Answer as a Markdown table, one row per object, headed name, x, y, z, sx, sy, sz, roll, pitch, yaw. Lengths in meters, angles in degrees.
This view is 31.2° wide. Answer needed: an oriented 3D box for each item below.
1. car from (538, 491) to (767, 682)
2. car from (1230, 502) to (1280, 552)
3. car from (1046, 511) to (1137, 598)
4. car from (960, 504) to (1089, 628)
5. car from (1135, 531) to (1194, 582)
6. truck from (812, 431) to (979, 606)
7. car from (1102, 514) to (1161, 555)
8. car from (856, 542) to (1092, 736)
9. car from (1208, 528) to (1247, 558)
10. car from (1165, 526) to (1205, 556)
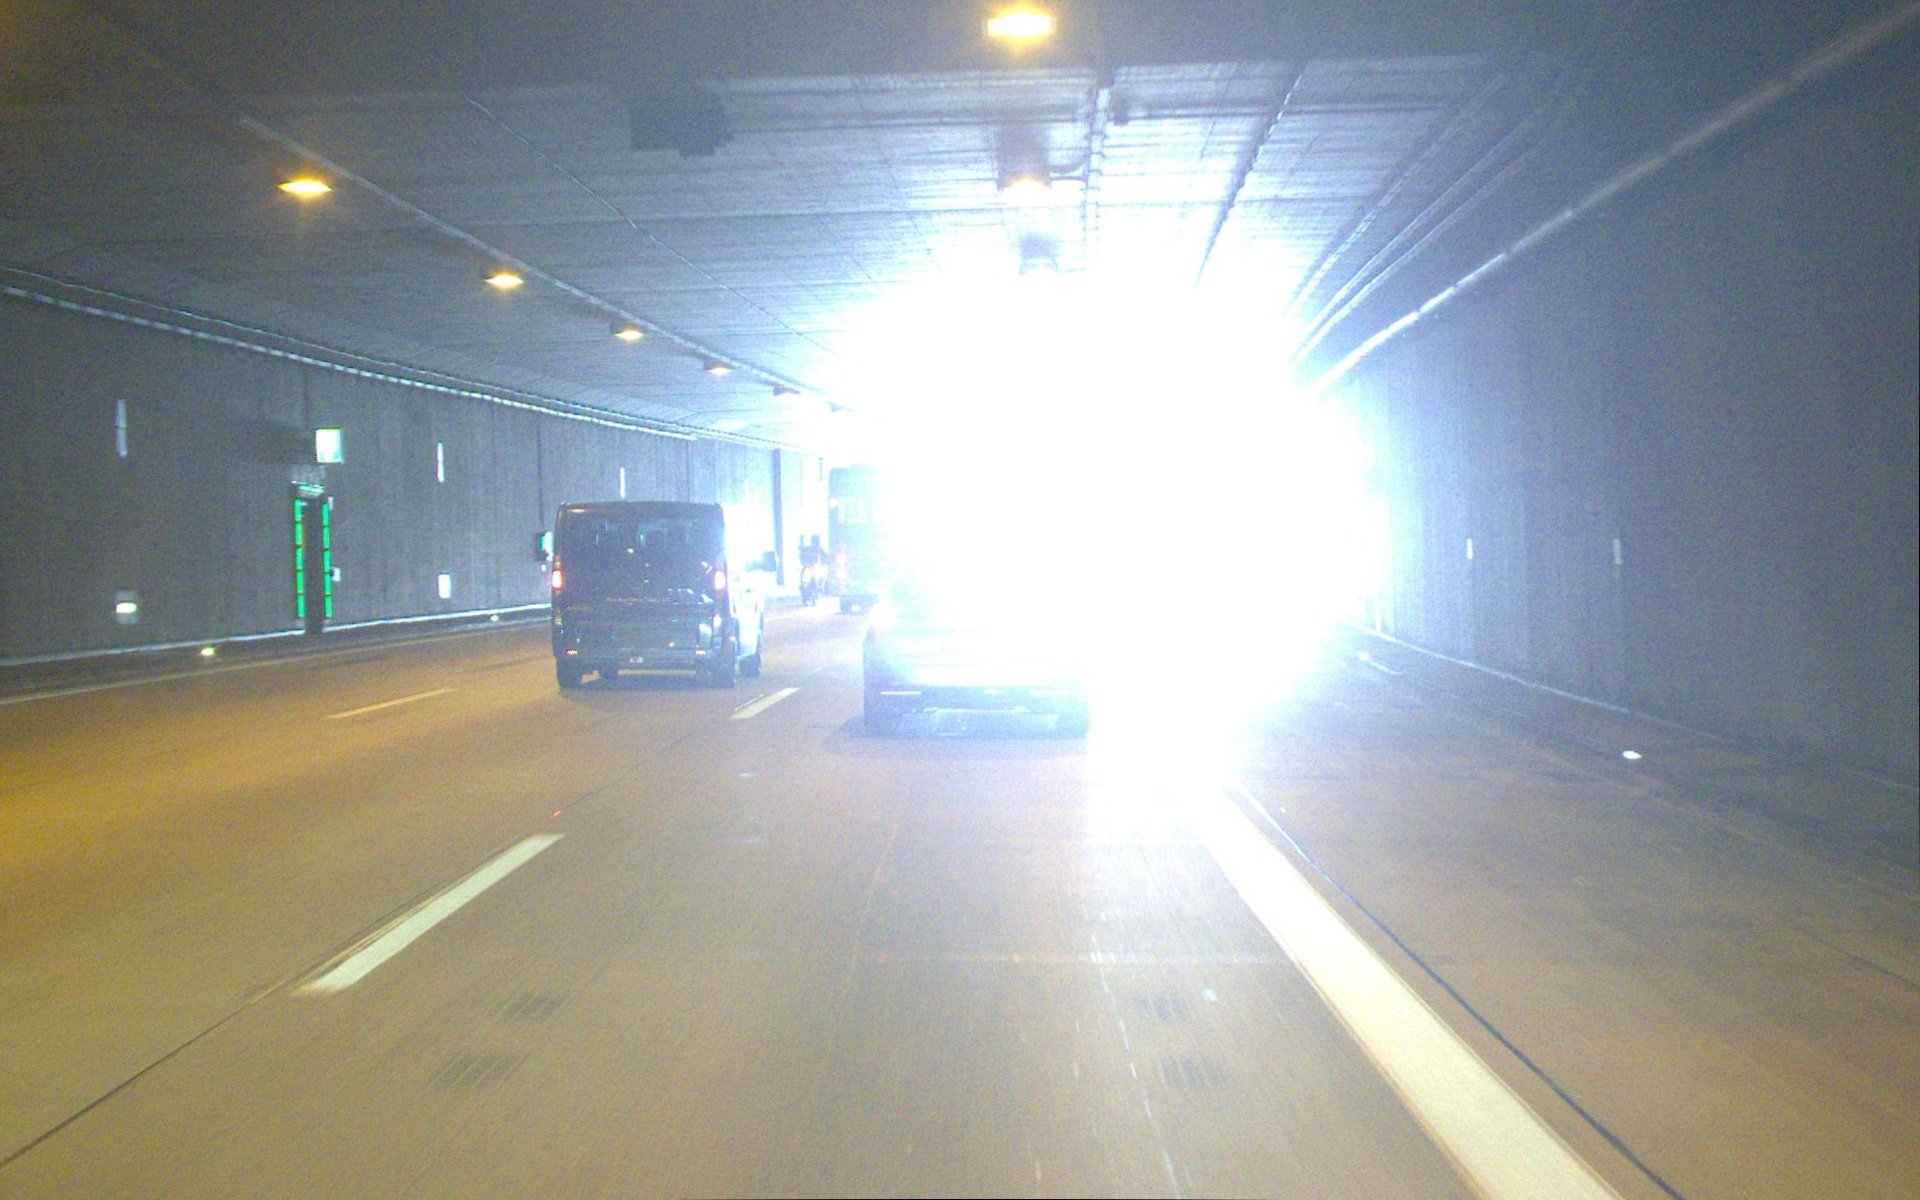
| name | x | y | z | sx | sy | sz | roll | pitch | yaw |
| --- | --- | --- | --- | --- | --- | --- | --- | --- | --- |
| car | -3.229 | -0.177 | 36.804 | 1.910 | 1.938 | 3.871 | 0 | 1 | 3 |
| car | 13.077 | -3.212 | 152.021 | 1.994 | 2.007 | 3.998 | 0 | -1 | 8 |
| car | 2.893 | -0.983 | 75.545 | 1.950 | 1.766 | 3.999 | 0 | -1 | 2 |
| car | 1.041 | -0.539 | 53.505 | 1.857 | 1.848 | 4.000 | 0 | 1 | 3 |
| car | 7.265 | -1.528 | 122.048 | 1.931 | 1.637 | 3.999 | 0 | -1 | 6 |
| truck | -1.329 | -1.761 | 75.670 | 3.039 | 3.660 | 7.392 | 0 | 1 | 4 |
| car | 7.388 | -2.804 | 147.893 | 1.994 | 1.626 | 3.998 | 0 | 0 | 11 |
| car | 0.177 | 0.264 | 28.094 | 1.742 | 1.459 | 3.871 | 0 | 1 | 3 |
| car | 15.791 | -3.345 | 202.652 | 1.994 | 1.626 | 3.998 | 0 | 0 | 9 |
| car | 13.804 | -3.617 | 210.531 | 1.931 | 1.637 | 3.998 | 0 | -1 | 12 |
